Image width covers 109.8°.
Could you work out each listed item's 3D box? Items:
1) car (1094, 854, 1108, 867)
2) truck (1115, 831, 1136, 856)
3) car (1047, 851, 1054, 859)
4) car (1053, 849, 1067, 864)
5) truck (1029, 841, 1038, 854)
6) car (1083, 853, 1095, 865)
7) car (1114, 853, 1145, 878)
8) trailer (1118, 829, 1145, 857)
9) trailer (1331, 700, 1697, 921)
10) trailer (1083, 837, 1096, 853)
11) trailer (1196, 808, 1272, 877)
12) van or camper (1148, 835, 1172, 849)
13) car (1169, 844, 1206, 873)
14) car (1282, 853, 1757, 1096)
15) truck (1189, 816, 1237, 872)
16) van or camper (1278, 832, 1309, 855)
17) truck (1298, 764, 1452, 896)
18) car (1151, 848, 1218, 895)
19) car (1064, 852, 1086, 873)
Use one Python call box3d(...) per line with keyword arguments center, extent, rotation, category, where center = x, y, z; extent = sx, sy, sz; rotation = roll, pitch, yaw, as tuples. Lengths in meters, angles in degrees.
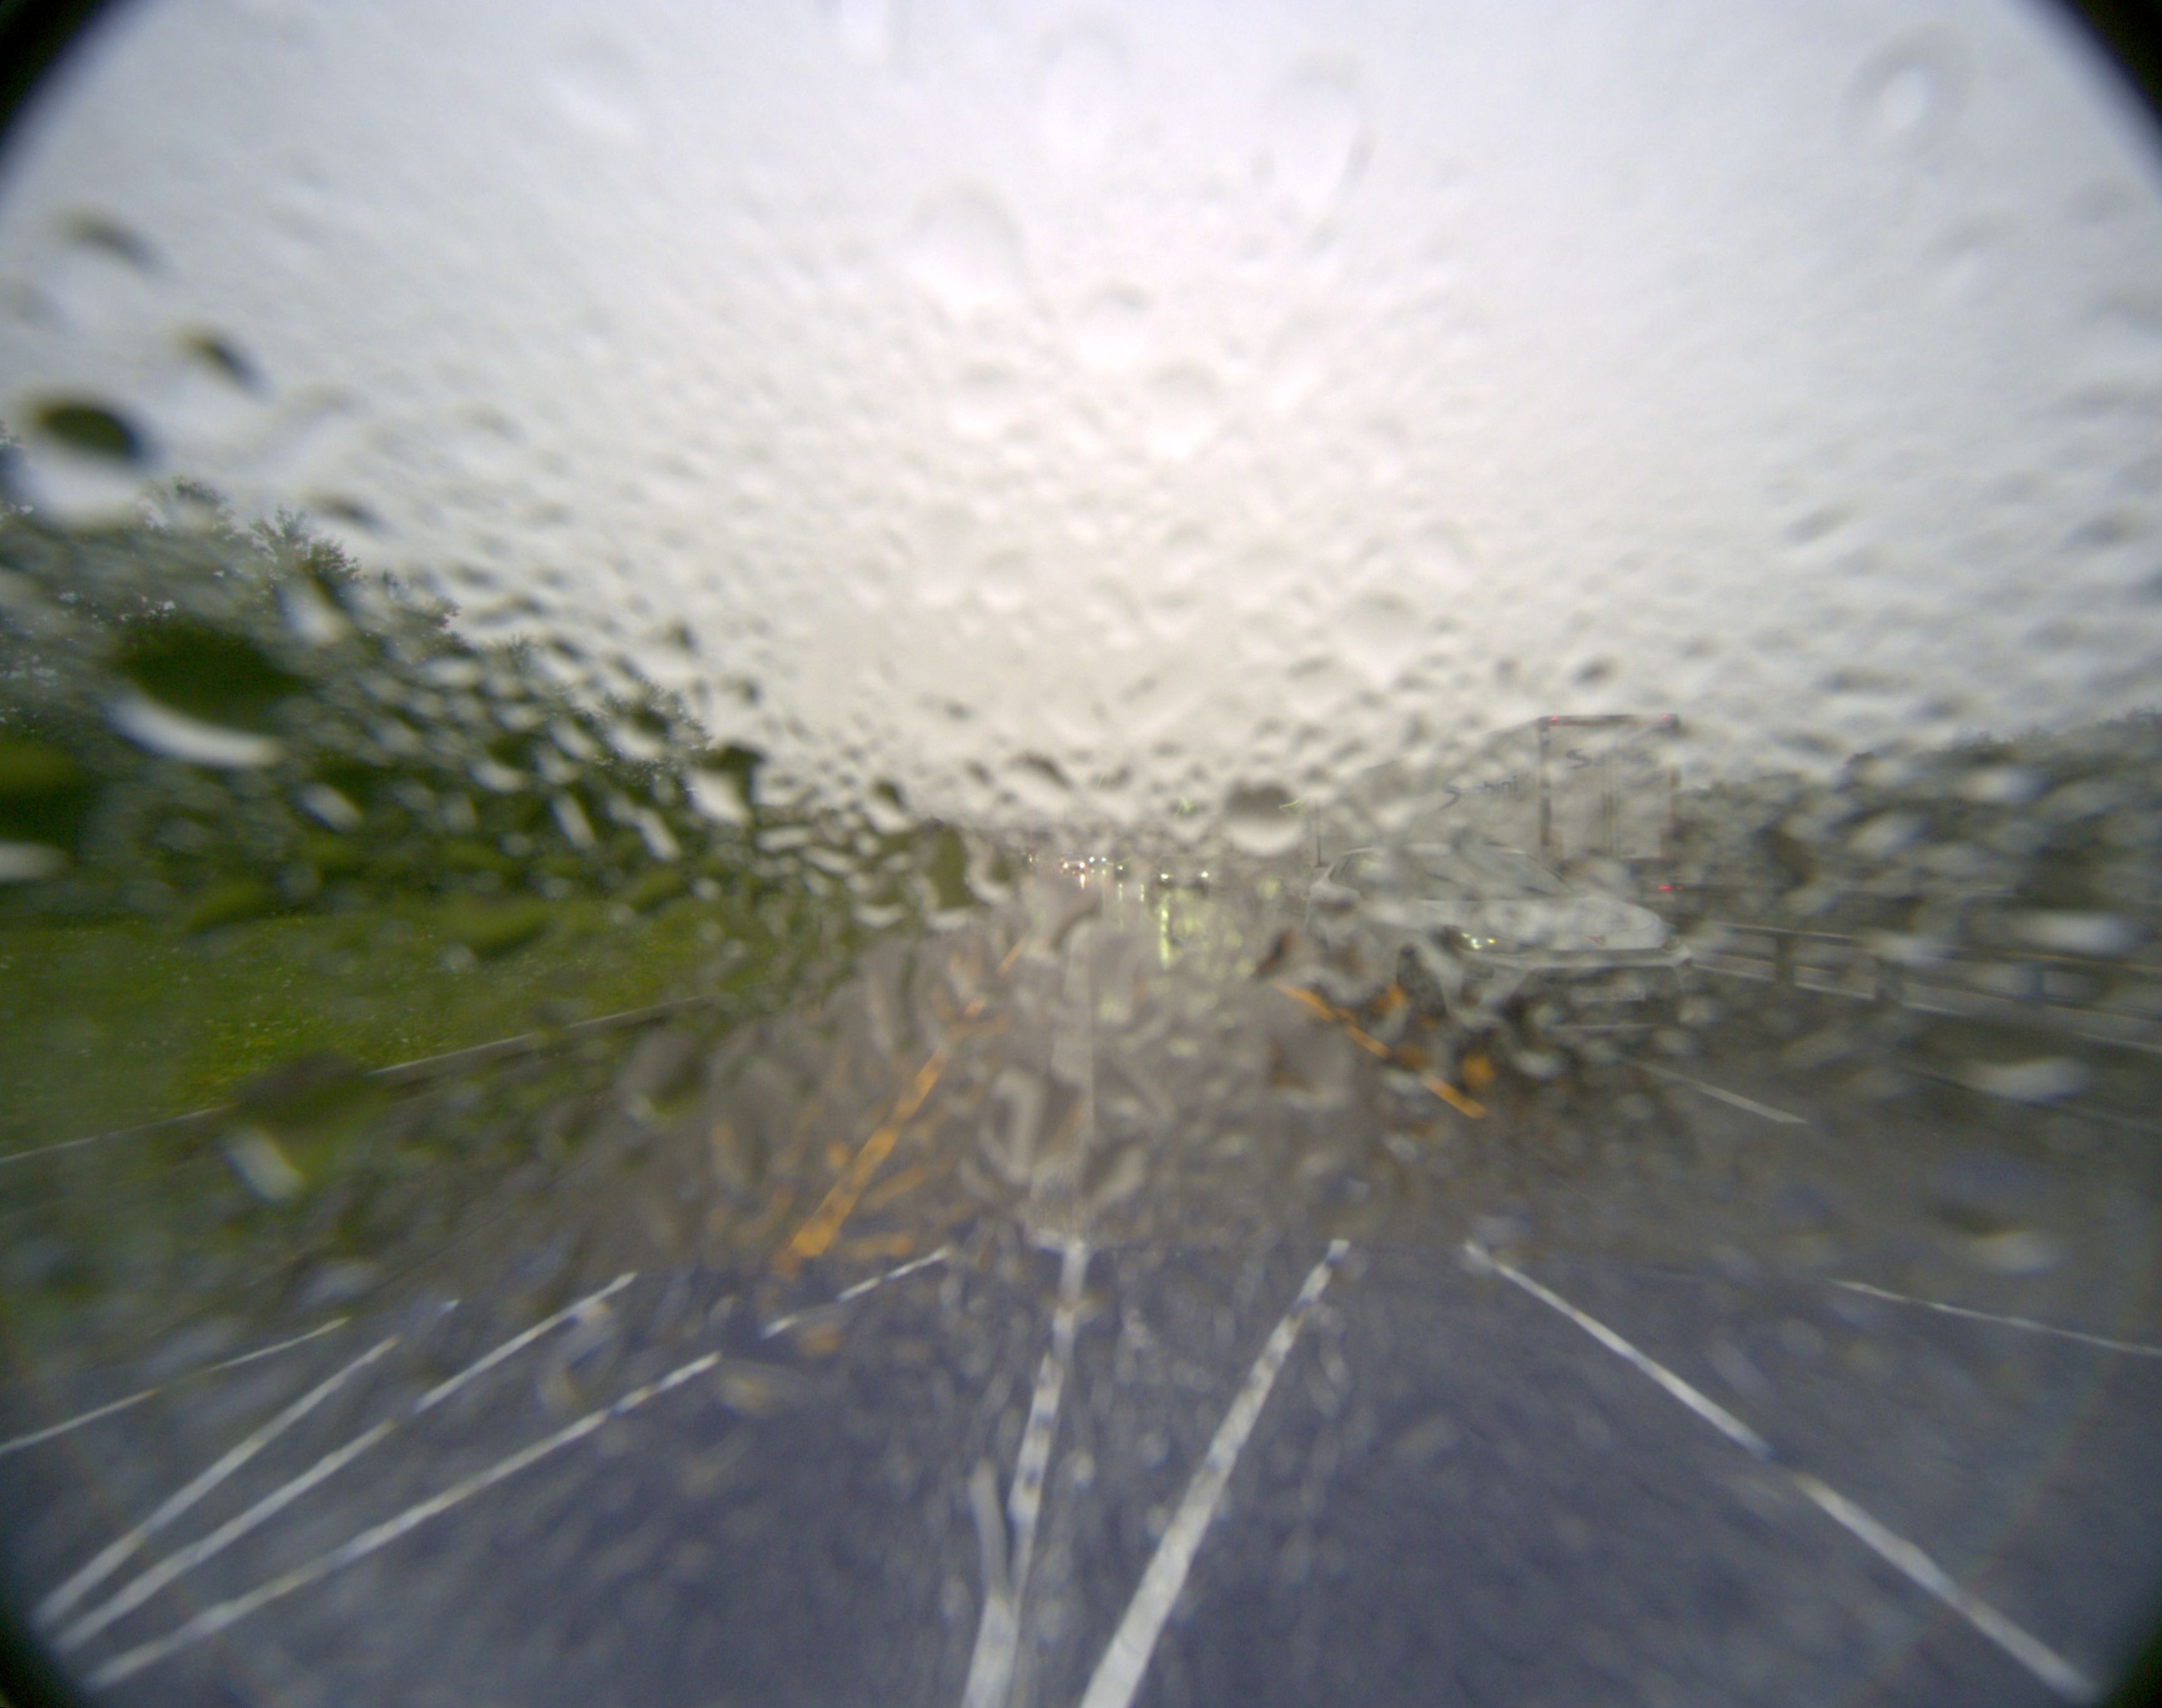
box3d(center=(2.513, 0.738, 94.349), extent=(1.589, 1.528, 3.831), rotation=(0, 1, 0), category="car")
box3d(center=(7.304, -1.692, 125.003), extent=(2.631, 4.058, 6.667), rotation=(-2, 0, -3), category="truck")
box3d(center=(-7.158, 0.263, 180.132), extent=(1.673, 1.804, 3.999), rotation=(0, 1, -2), category="car")
box3d(center=(-2.637, 0.320, 95.640), extent=(1.674, 1.804, 3.998), rotation=(0, 1, -3), category="car")
box3d(center=(-15.831, -2.226, 254.449), extent=(2.507, 4.067, 15.195), rotation=(-2, 1, -3), category="truck")
box3d(center=(1.191, 0.704, 119.363), extent=(1.673, 1.804, 3.999), rotation=(0, 1, -2), category="car")
box3d(center=(3.244, 0.739, 51.264), extent=(1.792, 1.480, 3.999), rotation=(-2, 1, 1), category="car")
box3d(center=(7.746, -1.628, 117.458), extent=(2.607, 4.054, 12.426), rotation=(-2, 1, -3), category="trailer")
box3d(center=(10.054, -0.774, 20.219), extent=(2.914, 4.065, 12.220), rotation=(-1, 0, 1), category="trailer")
box3d(center=(2.176, -2.254, 195.228), extent=(2.620, 3.984, 11.923), rotation=(-2, 1, -2), category="trailer")
box3d(center=(10.047, -0.725, 51.362), extent=(2.500, 4.026, 12.585), rotation=(-1, 0, 0), category="trailer")
box3d(center=(19.902, -2.985, 190.817), extent=(5.422, 3.325, 3.376), rotation=(-3, 1, -5), category="van or camper")
box3d(center=(7.388, 0.278, 53.048), extent=(1.998, 1.874, 4.432), rotation=(-1, 1, 1), category="car")
box3d(center=(3.543, 0.800, 7.501), extent=(1.932, 1.542, 5.007), rotation=(-1, 0, 2), category="car")
box3d(center=(10.038, -0.724, 58.242), extent=(2.490, 4.007, 6.447), rotation=(-2, 0, 0), category="truck")
box3d(center=(43.325, -2.151, 155.242), extent=(3.376, 4.299, 8.503), rotation=(-2, 1, -3), category="van or camper")
box3d(center=(10.171, -0.721, 27.214), extent=(2.891, 4.077, 6.926), rotation=(-1, 0, 1), category="truck")
box3d(center=(3.877, 0.602, 29.322), extent=(2.069, 1.618, 5.196), rotation=(-1, 0, 2), category="car")
box3d(center=(-0.514, 0.689, 66.908), extent=(1.881, 1.772, 3.999), rotation=(0, 1, -1), category="car")
